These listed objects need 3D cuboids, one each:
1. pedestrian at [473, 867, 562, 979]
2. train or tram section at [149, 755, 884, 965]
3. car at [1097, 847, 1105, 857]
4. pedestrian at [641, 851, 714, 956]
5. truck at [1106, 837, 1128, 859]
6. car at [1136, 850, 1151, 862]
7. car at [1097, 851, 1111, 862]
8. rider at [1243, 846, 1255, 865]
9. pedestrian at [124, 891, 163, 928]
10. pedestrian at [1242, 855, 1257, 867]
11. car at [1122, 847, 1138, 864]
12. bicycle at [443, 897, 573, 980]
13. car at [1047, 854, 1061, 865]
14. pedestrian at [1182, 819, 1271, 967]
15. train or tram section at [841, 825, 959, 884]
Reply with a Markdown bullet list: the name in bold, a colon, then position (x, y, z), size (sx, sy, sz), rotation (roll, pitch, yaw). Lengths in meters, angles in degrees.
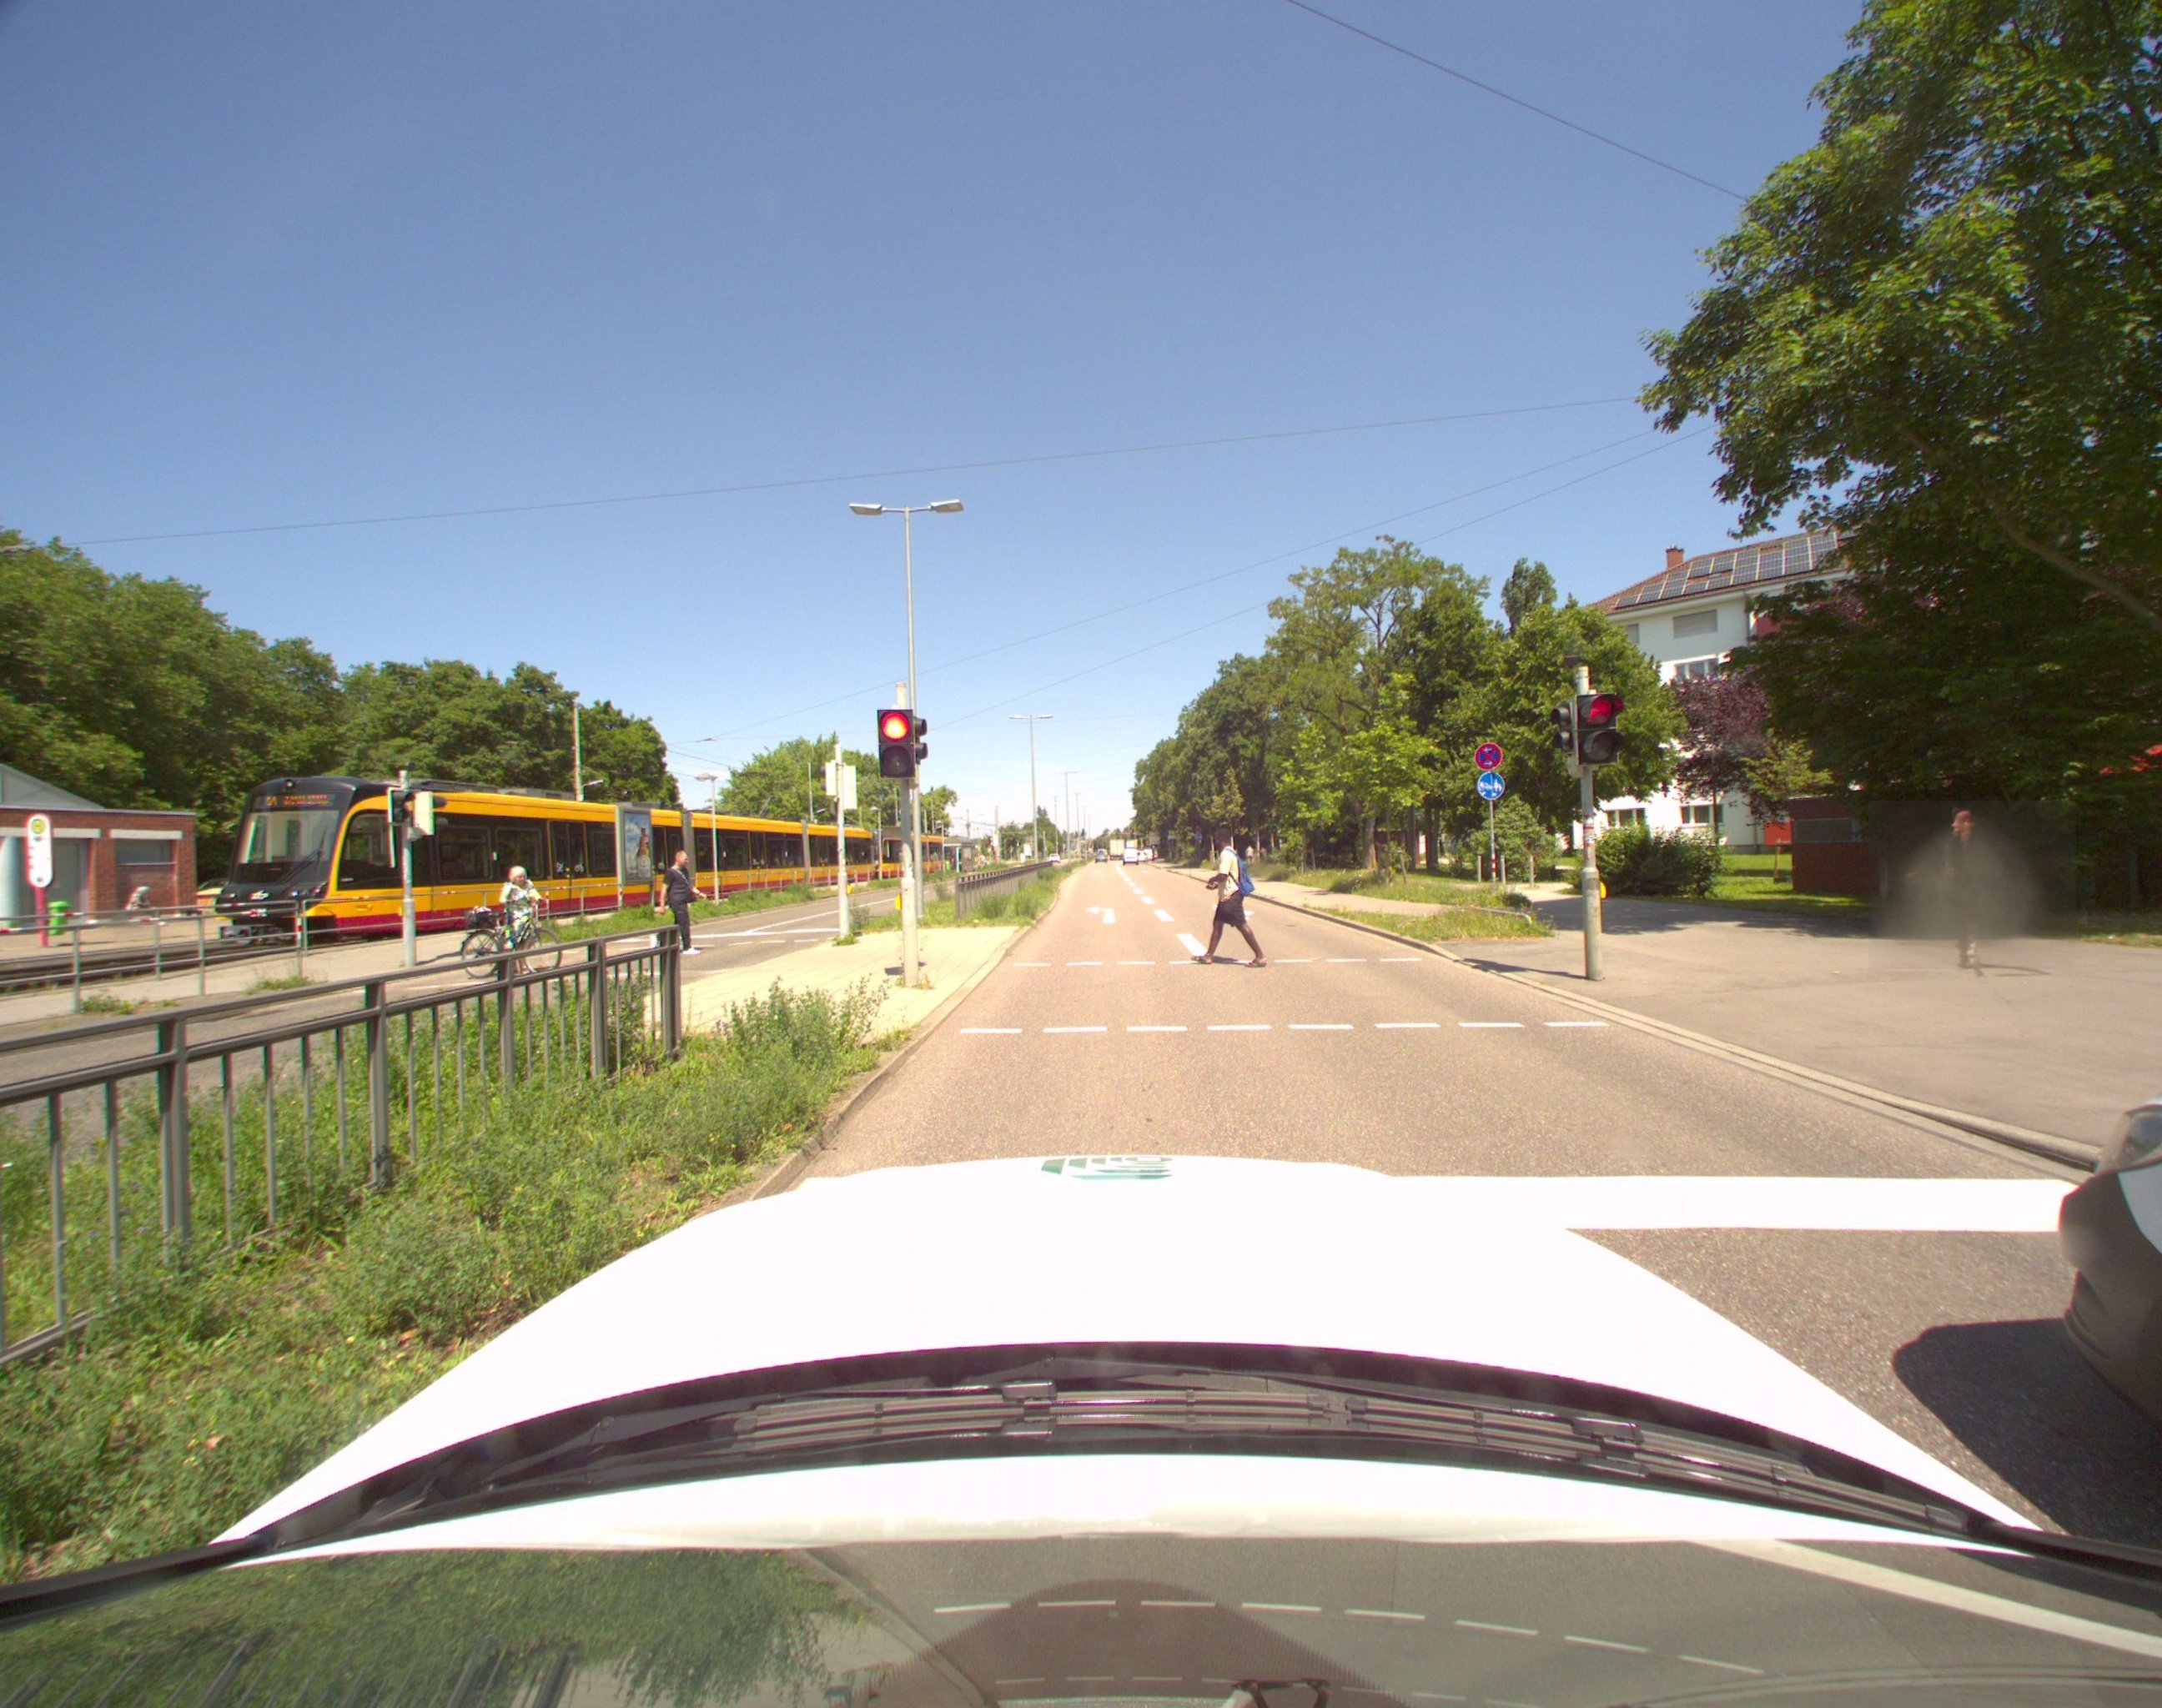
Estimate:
- **pedestrian**: position (-8.575, 1.032, 12.421), size (0.815, 1.628, 0.707), rotation (-1, 0, 7)
- **train or tram section**: position (-14.624, 0.066, 33.289), size (2.777, 3.668, 37.533), rotation (-1, 0, 2)
- **car**: position (4.039, -0.370, 165.058), size (1.681, 1.897, 3.872), rotation (-2, 0, 2)
- **pedestrian**: position (-7.164, 0.853, 14.465), size (0.949, 1.797, 0.710), rotation (-1, 0, 31)
- **truck**: position (6.525, -1.026, 149.189), size (3.884, 3.812, 10.797), rotation (-2, 0, 2)
- **car**: position (8.328, 0.257, 109.387), size (1.797, 1.540, 4.001), rotation (-1, 0, 1)
- **car**: position (3.172, 0.351, 112.575), size (1.794, 1.486, 4.004), rotation (-2, 0, 4)
- **rider**: position (11.888, 0.108, 57.587), size (0.675, 1.281, 0.534), rotation (-1, 0, 1)
- **pedestrian**: position (-26.927, 1.589, 23.388), size (0.479, 1.018, 0.523), rotation (-2, 0, 4)
- **pedestrian**: position (11.907, 0.480, 57.586), size (0.675, 0.847, 1.774), rotation (-1, 0, 2)
- **car**: position (5.453, 0.119, 90.536), size (1.720, 1.814, 4.005), rotation (-1, 0, 4)
- **bicycle**: position (-8.557, 1.264, 12.156), size (1.853, 1.157, 0.243), rotation (-3, 0, 6)
- **car**: position (-4.291, 0.855, 130.316), size (1.986, 1.650, 4.002), rotation (-2, 0, 2)
- **pedestrian**: position (1.912, 0.490, 10.633), size (1.038, 1.850, 0.760), rotation (-1, 0, 15)
- **train or tram section**: position (-13.507, -0.007, 65.057), size (2.777, 3.668, 26.010), rotation (-1, 0, 2)
